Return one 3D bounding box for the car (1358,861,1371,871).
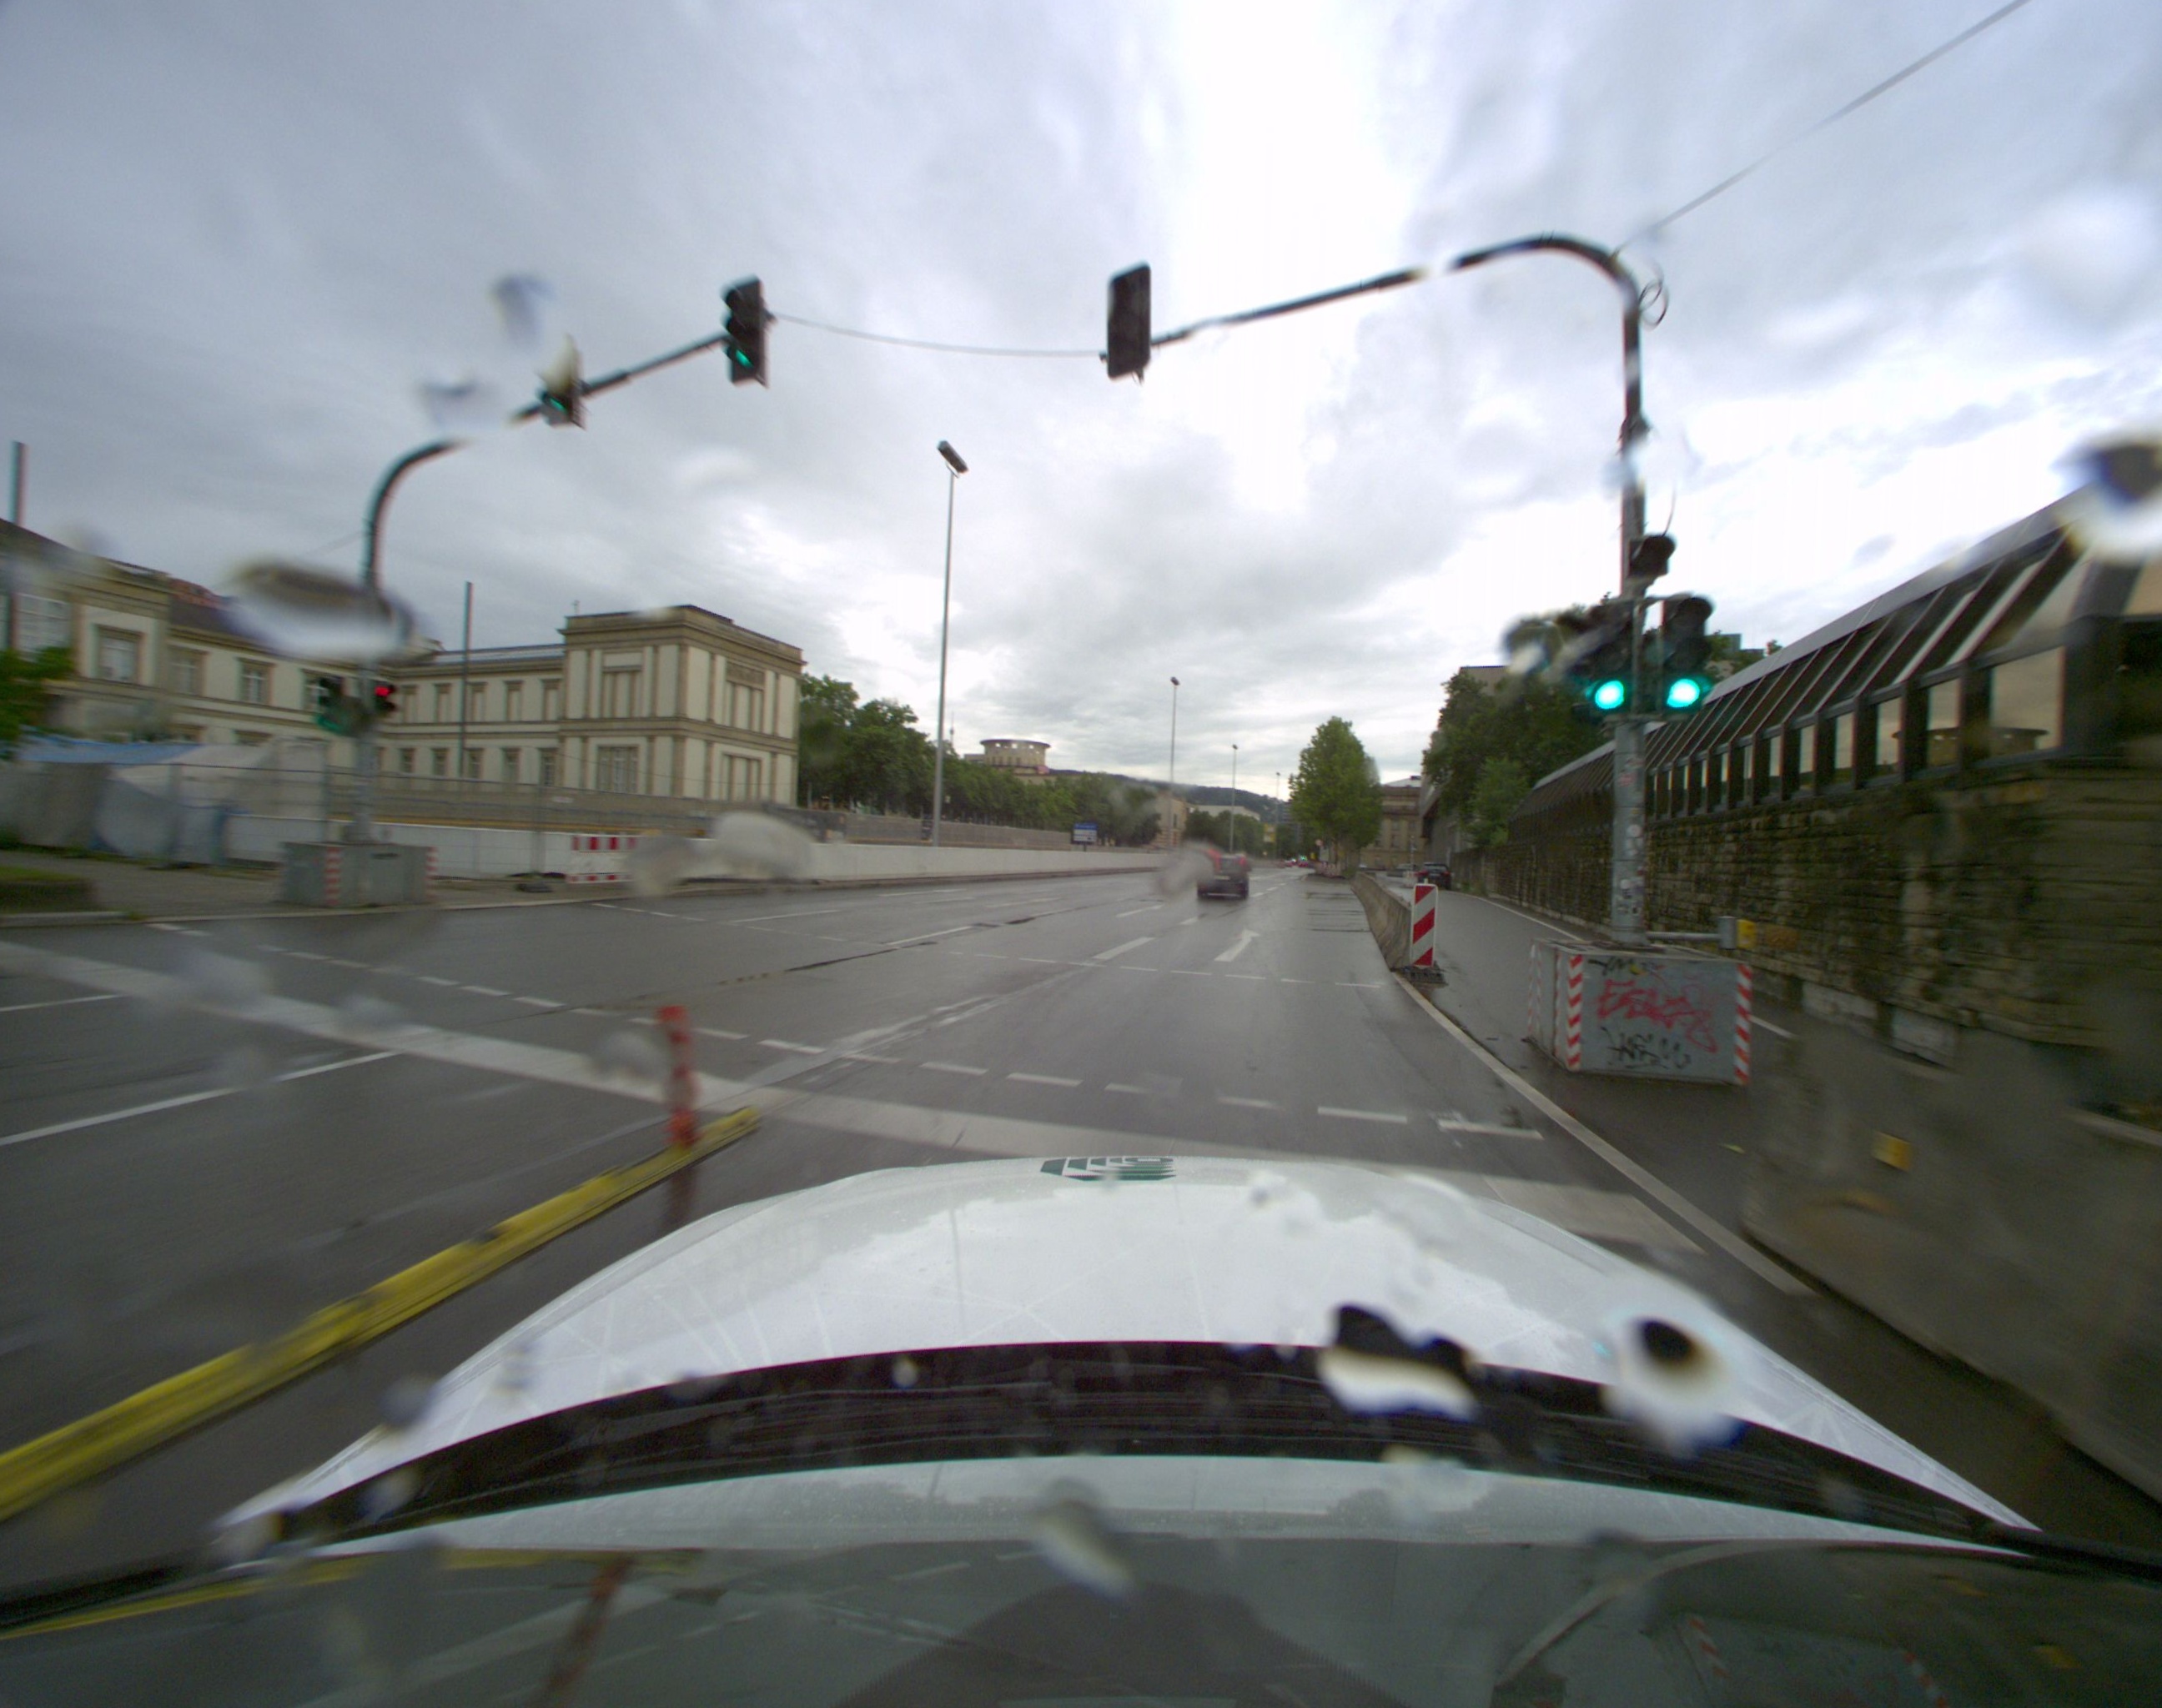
[{"bbox_3d":[54.542,2.278,156.631,1.976,1.708,4.022,4,1,23],"label":"car"}]

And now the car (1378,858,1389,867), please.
[{"bbox_3d":[65.301,1.937,175.754,1.976,1.708,4.021,4,0,23],"label":"car"}]

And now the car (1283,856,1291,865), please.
[{"bbox_3d":[35.924,1.120,142.035,1.375,1.386,3.079,2,0,14],"label":"car"}]

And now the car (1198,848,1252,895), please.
[{"bbox_3d":[5.002,0.559,28.109,1.659,1.427,3.769,3,0,11],"label":"car"}]

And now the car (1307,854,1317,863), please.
[{"bbox_3d":[52.004,1.015,183.155,1.978,2.013,4.019,4,1,18],"label":"car"}]

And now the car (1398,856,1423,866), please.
[{"bbox_3d":[56.752,1.159,140.373,3.954,1.560,1.942,1,-3,19],"label":"car"}]

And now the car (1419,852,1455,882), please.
[{"bbox_3d":[20.191,0.707,46.163,1.788,1.552,4.350,0,1,23],"label":"car"}]

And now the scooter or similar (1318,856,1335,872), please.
[{"bbox_3d":[21.961,0.891,72.859,1.344,1.285,0.622,4,-1,20],"label":"scooter or similar"}]

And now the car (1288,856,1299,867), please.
[{"bbox_3d":[44.686,1.634,171.298,1.980,2.013,4.014,4,-1,14],"label":"car"}]
